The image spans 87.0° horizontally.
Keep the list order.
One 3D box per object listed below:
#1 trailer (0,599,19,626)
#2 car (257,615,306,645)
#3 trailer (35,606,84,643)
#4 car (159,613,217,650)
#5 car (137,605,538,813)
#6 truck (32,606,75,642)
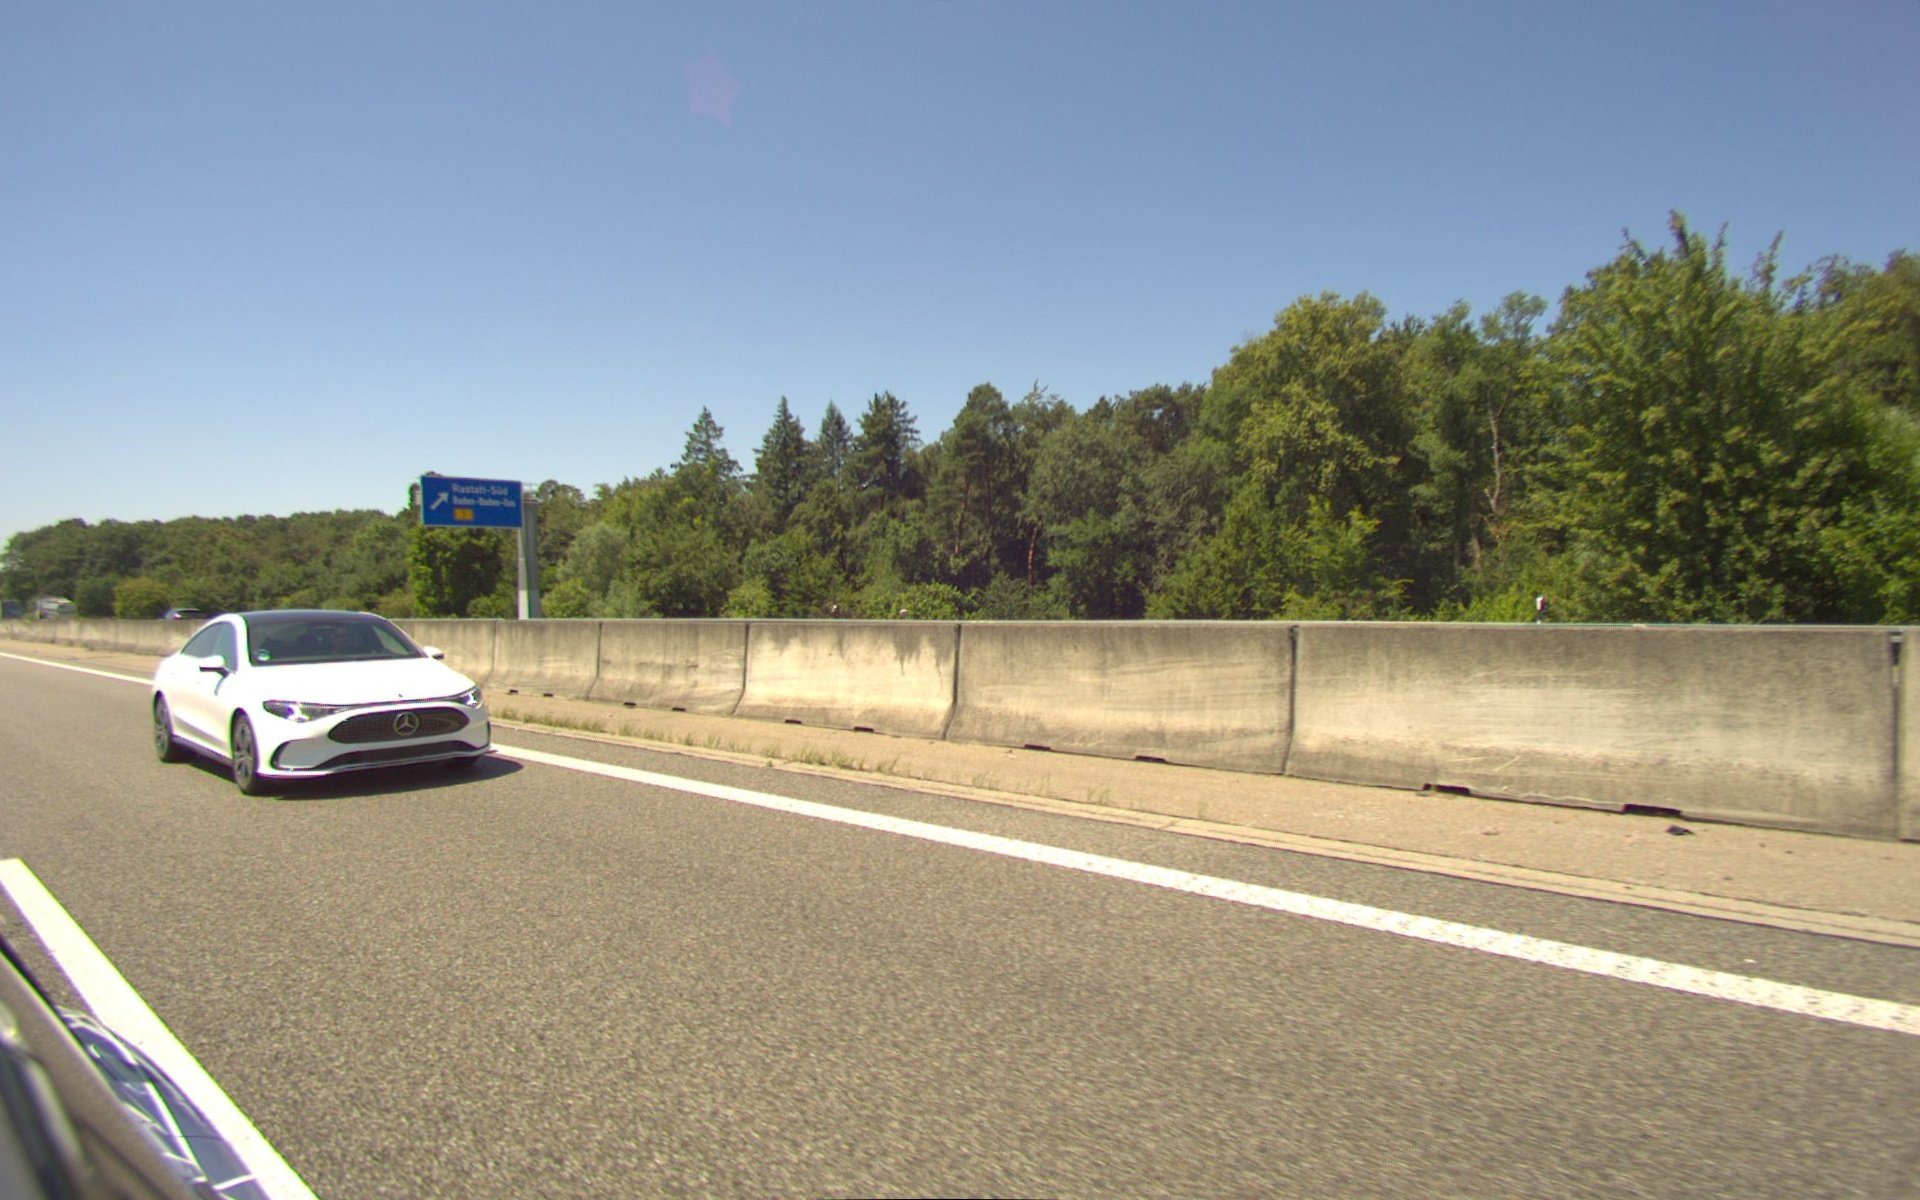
[{"bbox_3d":[-154.051,2.003,162.667,11.769,4.107,2.953,-1,1,41],"label":"trailer"},{"bbox_3d":[-49.676,2.179,74.097,4.428,2.029,1.972,-1,0,43],"label":"car"},{"bbox_3d":[-110.021,2.987,123.630,10.422,4.077,2.780,-1,2,40],"label":"trailer"},{"bbox_3d":[-47.716,1.926,62.555,3.998,2.028,1.973,-1,3,41],"label":"car"},{"bbox_3d":[-6.010,0.832,9.446,5.105,1.459,1.748,-2,-2,41],"label":"car"},{"bbox_3d":[-113.088,2.991,126.269,7.724,4.077,2.779,-1,2,40],"label":"truck"}]
